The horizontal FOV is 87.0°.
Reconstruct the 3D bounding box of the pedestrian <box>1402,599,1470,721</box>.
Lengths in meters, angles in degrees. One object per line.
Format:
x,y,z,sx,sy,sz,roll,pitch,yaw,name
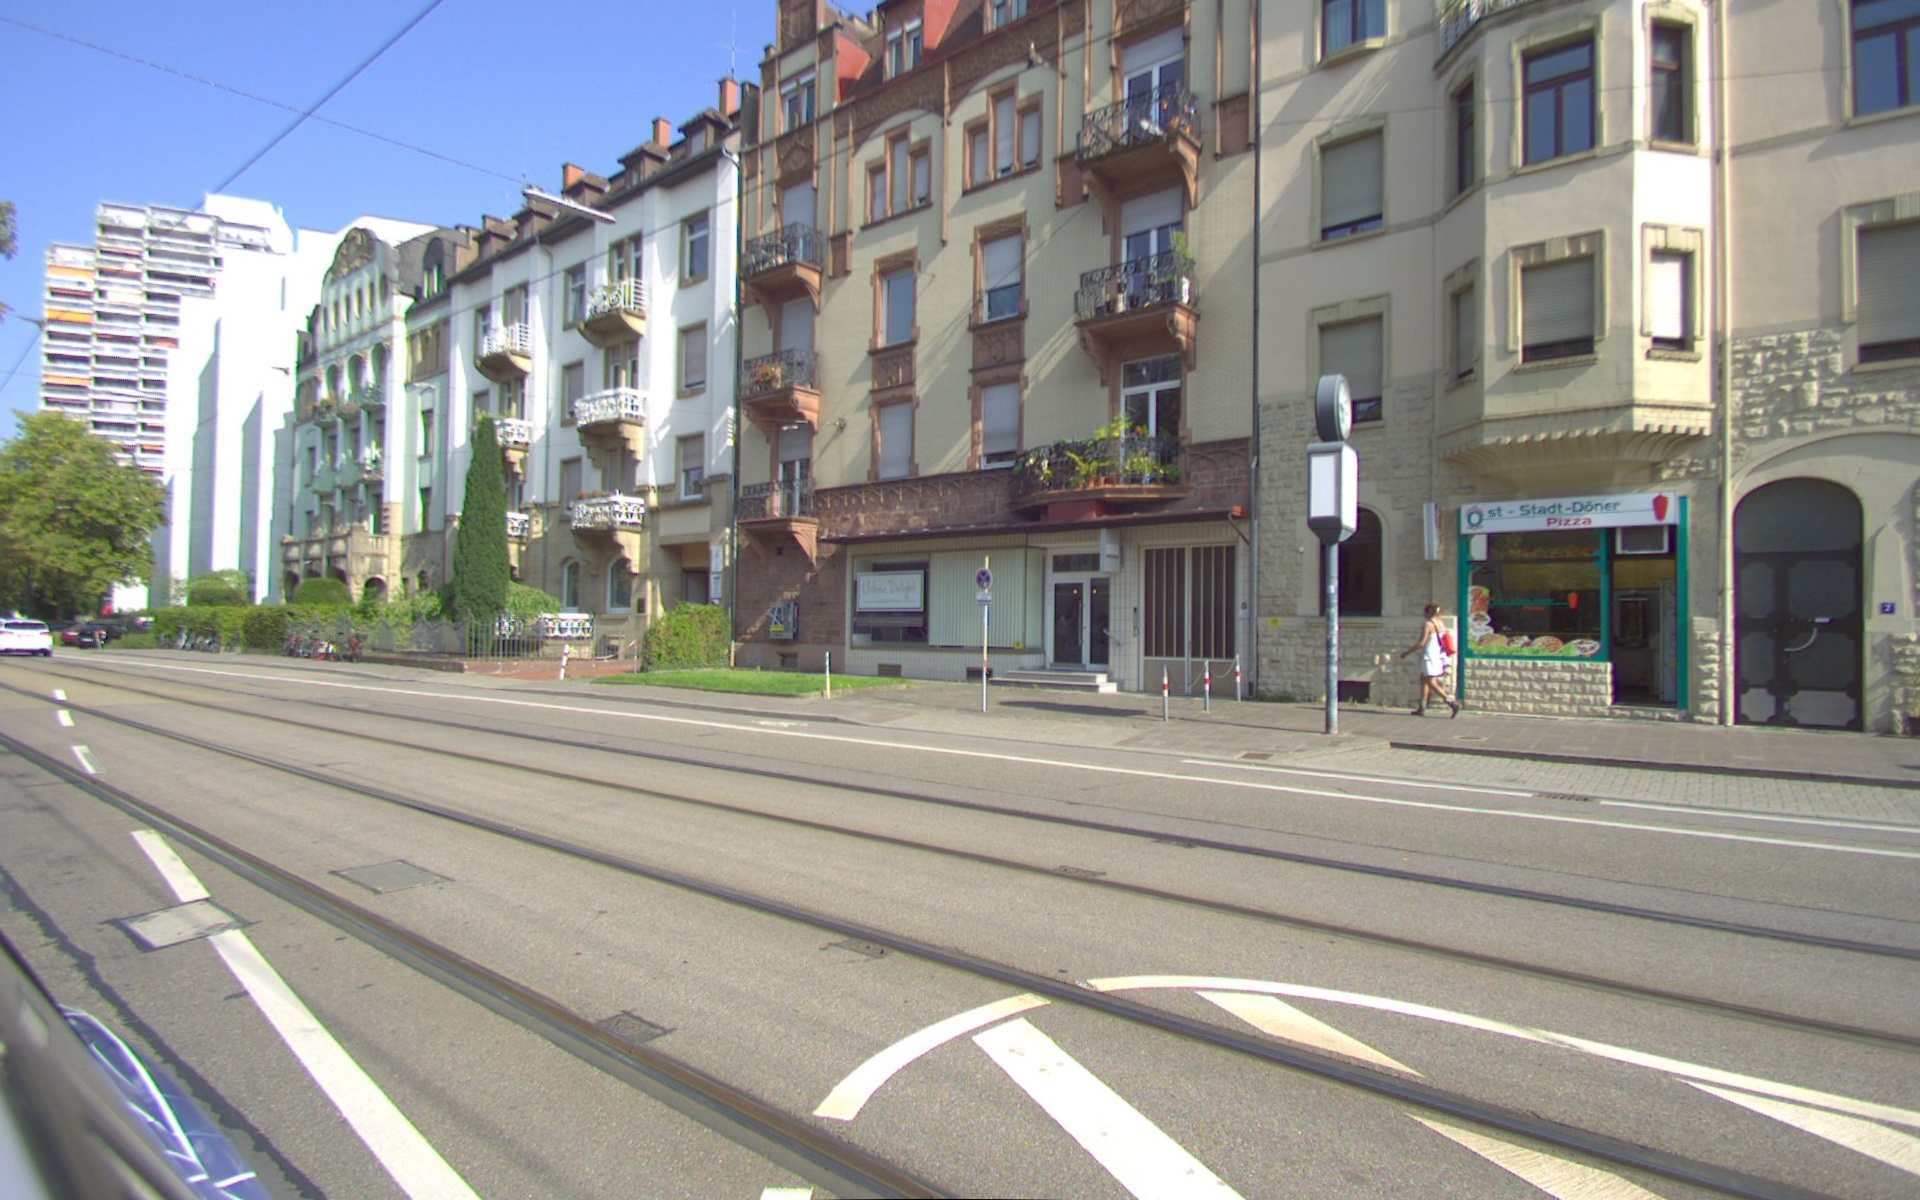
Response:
7.596,0.941,16.152,0.829,1.874,0.766,-1,-3,38,pedestrian

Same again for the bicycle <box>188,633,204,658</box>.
-34.277,2.037,45.406,0.419,1.096,1.679,3,-3,-41,bicycle

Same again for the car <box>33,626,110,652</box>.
-56.328,2.484,64.246,1.744,1.539,4.007,1,-2,-9,car

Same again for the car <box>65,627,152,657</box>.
-45.929,2.258,54.723,1.744,1.539,4.007,1,-2,-9,car

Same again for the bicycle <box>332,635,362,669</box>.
-20.274,1.710,33.471,1.486,1.096,0.366,-1,-3,40,bicycle

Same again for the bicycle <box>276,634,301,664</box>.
-24.994,1.817,37.645,1.354,1.096,0.366,-1,-3,40,bicycle

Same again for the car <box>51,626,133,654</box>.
-50.761,2.345,59.275,1.744,1.539,4.007,1,-2,-9,car

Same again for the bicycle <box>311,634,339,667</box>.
-21.682,1.729,34.551,1.354,1.096,0.366,-1,-3,40,bicycle

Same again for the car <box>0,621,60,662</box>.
-36.736,1.605,39.209,4.537,1.466,1.855,-1,-5,37,car

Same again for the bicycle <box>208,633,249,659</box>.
-31.618,1.985,43.759,0.423,1.096,1.385,0,-3,22,bicycle

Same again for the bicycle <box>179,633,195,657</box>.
-34.990,2.034,45.815,0.419,1.096,1.679,3,-3,-41,bicycle

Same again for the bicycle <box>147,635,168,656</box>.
-39.060,2.216,49.267,1.768,0.985,0.420,-1,-3,39,bicycle

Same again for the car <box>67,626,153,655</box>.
-48.376,2.306,57.702,1.745,1.539,4.003,1,-2,-4,car

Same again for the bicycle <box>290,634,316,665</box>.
-23.677,1.776,36.463,1.354,1.096,0.366,-1,-3,40,bicycle

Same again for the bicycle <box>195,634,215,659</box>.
-32.775,2.012,43.936,1.677,1.096,0.419,-2,-3,44,bicycle

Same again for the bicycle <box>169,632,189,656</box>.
-36.445,2.069,47.208,1.676,1.096,0.420,-2,-3,43,bicycle
